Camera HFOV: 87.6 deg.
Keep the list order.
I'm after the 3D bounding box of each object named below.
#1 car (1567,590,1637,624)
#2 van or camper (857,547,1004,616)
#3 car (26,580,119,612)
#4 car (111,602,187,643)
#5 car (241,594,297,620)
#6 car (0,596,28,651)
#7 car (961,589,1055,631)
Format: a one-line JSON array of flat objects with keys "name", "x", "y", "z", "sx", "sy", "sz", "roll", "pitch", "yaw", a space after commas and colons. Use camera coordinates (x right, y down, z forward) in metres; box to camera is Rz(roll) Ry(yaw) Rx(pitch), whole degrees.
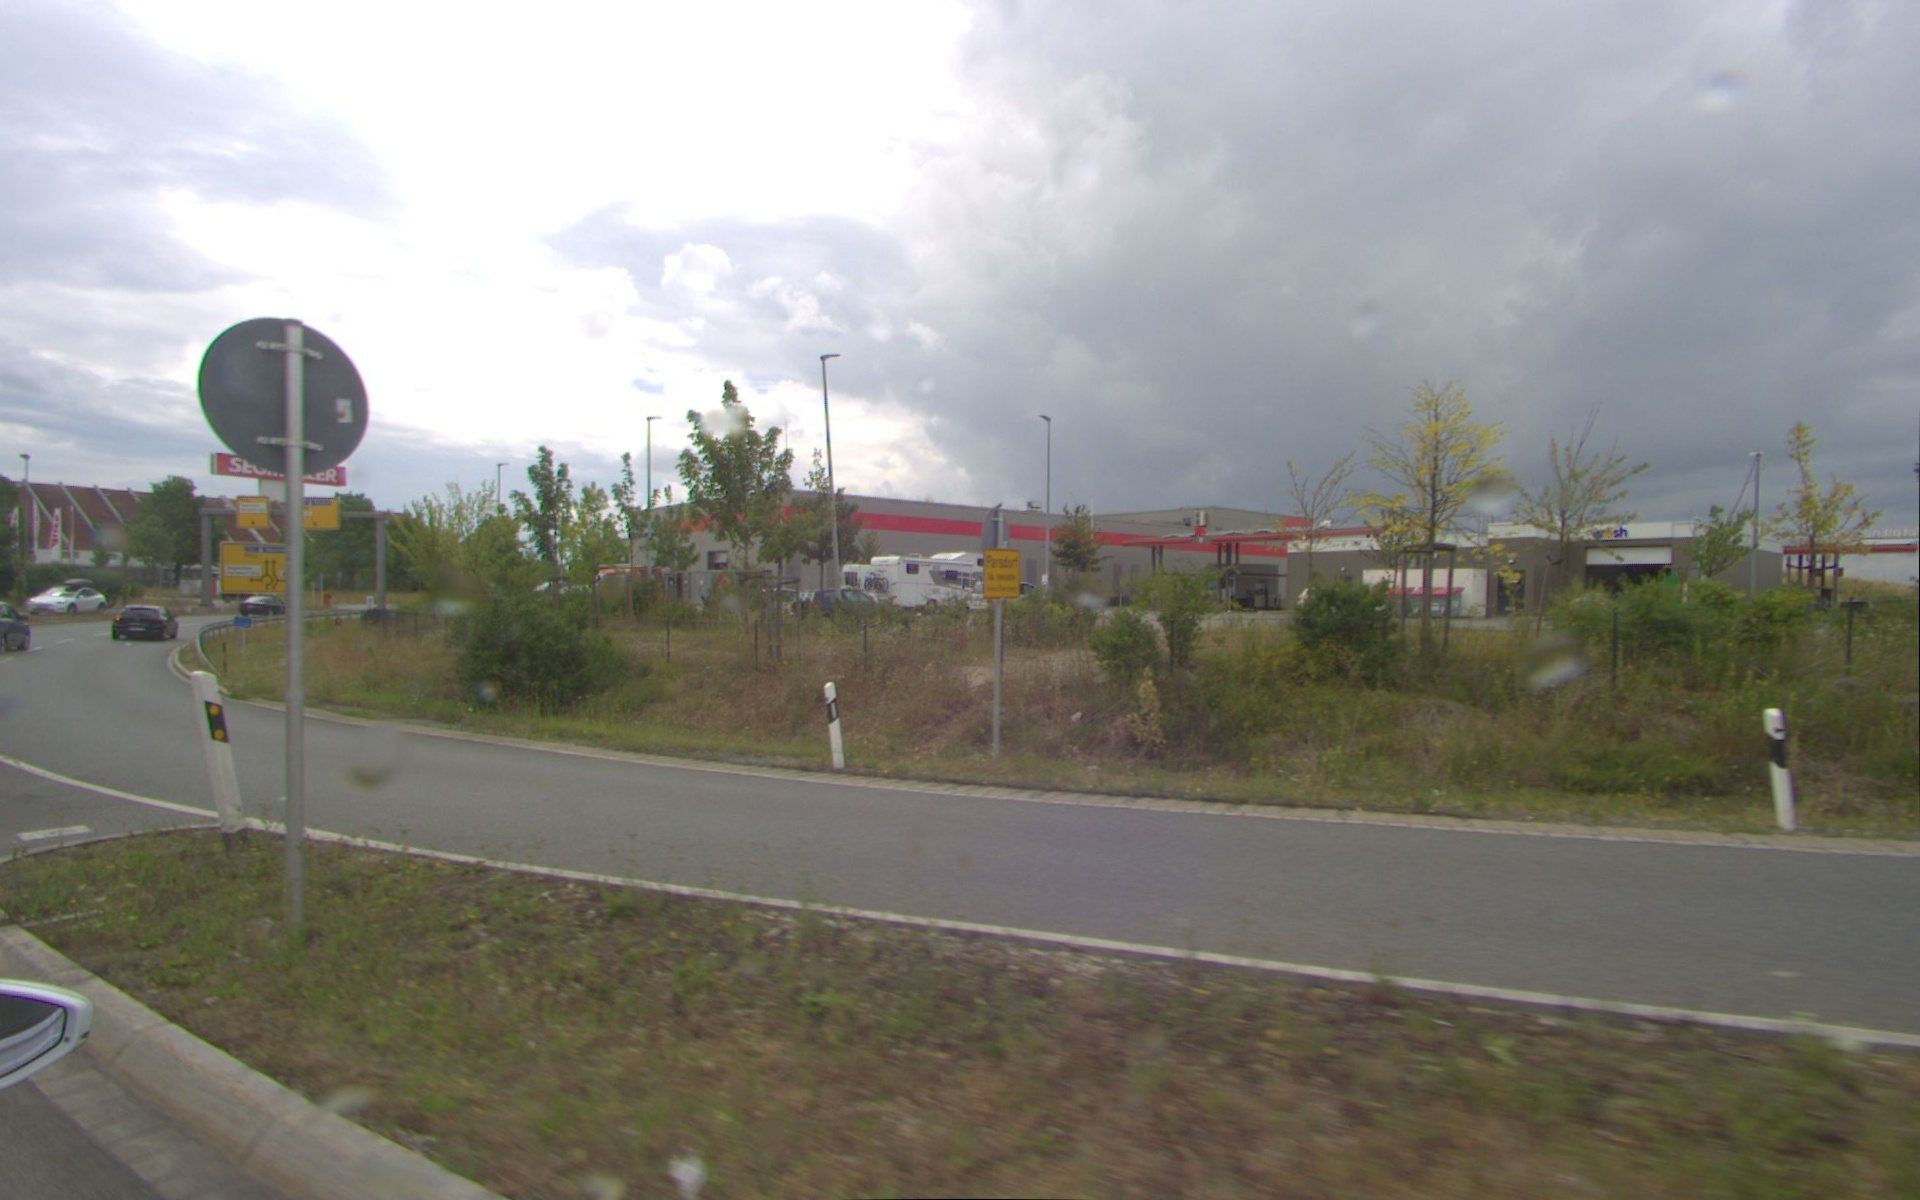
[{"name": "car", "x": 28.585, "y": 0.330, "z": 44.535, "sx": 3.959, "sy": 1.449, "sz": 1.655, "roll": 2, "pitch": -1, "yaw": -42}, {"name": "van or camper", "x": -1.384, "y": -0.879, "z": 50.323, "sx": 7.659, "sy": 3.222, "sz": 2.468, "roll": 0, "pitch": 2, "yaw": -43}, {"name": "car", "x": -51.164, "y": -0.181, "z": 57.842, "sx": 1.880, "sy": 1.647, "sz": 4.633, "roll": 4, "pitch": -1, "yaw": -12}, {"name": "car", "x": -34.156, "y": 0.958, "z": 42.271, "sx": 1.848, "sy": 1.626, "sz": 3.716, "roll": 1, "pitch": -1, "yaw": -29}, {"name": "car", "x": -45.512, "y": 0.501, "z": 66.019, "sx": 1.879, "sy": 1.639, "sz": 3.993, "roll": 1, "pitch": -1, "yaw": -17}, {"name": "car", "x": -30.753, "y": 0.665, "z": 31.346, "sx": 1.753, "sy": 1.636, "sz": 3.893, "roll": 5, "pitch": -3, "yaw": -36}, {"name": "car", "x": 2.175, "y": 0.421, "z": 44.819, "sx": 4.011, "sy": 1.743, "sz": 1.767, "roll": -1, "pitch": 0, "yaw": -36}]
